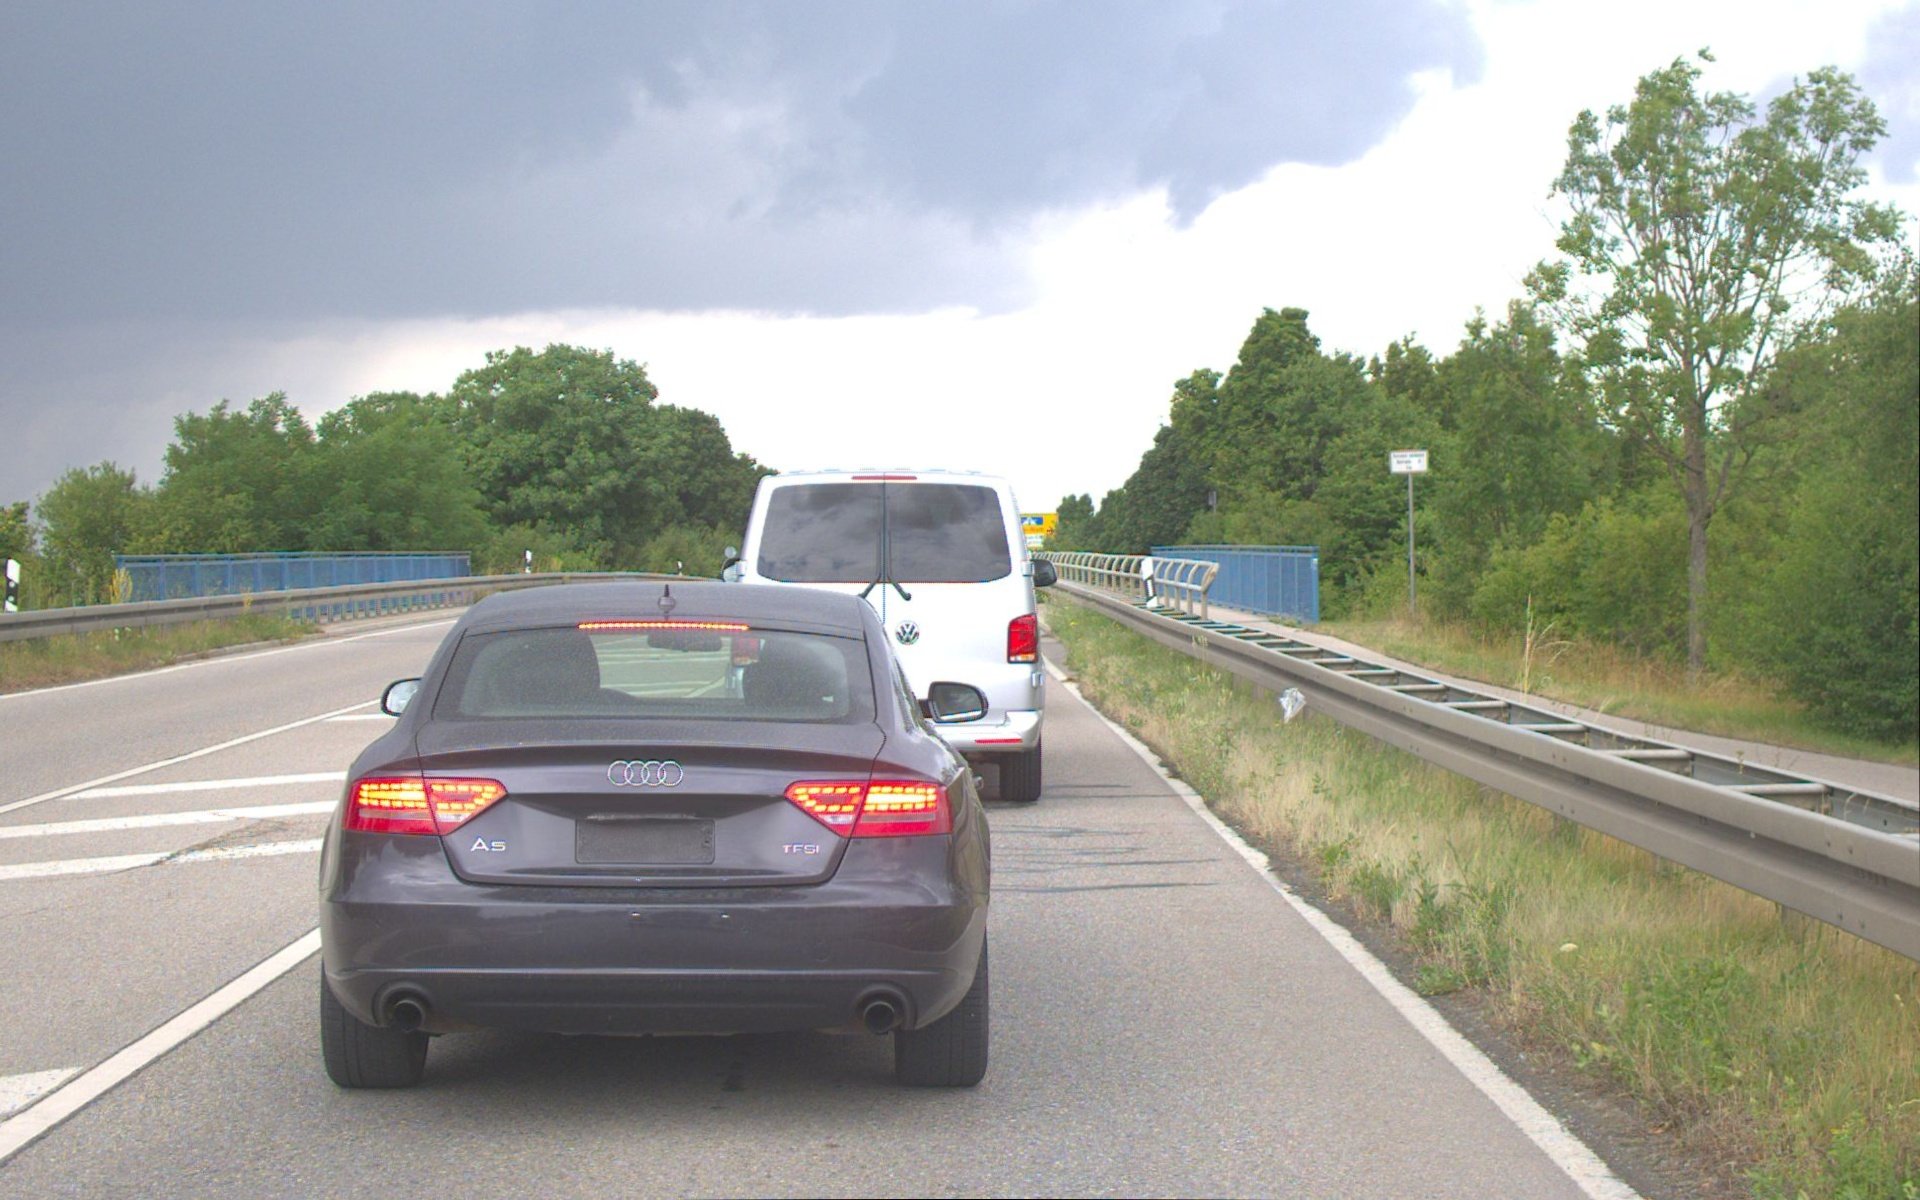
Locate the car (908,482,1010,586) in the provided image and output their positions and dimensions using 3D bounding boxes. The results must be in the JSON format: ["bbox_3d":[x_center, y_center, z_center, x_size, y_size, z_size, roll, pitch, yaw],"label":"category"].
[{"bbox_3d":[-0.035,-1.658,86.411,2.447,2.495,5.041,1,1,0],"label":"car"}]

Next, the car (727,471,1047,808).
[{"bbox_3d":[-0.435,0.211,21.417,1.785,1.883,4.000,1,0,-1],"label":"car"}]

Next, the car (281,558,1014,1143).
[{"bbox_3d":[-0.792,0.603,10.464,1.785,1.419,4.000,1,0,-1],"label":"car"}]
